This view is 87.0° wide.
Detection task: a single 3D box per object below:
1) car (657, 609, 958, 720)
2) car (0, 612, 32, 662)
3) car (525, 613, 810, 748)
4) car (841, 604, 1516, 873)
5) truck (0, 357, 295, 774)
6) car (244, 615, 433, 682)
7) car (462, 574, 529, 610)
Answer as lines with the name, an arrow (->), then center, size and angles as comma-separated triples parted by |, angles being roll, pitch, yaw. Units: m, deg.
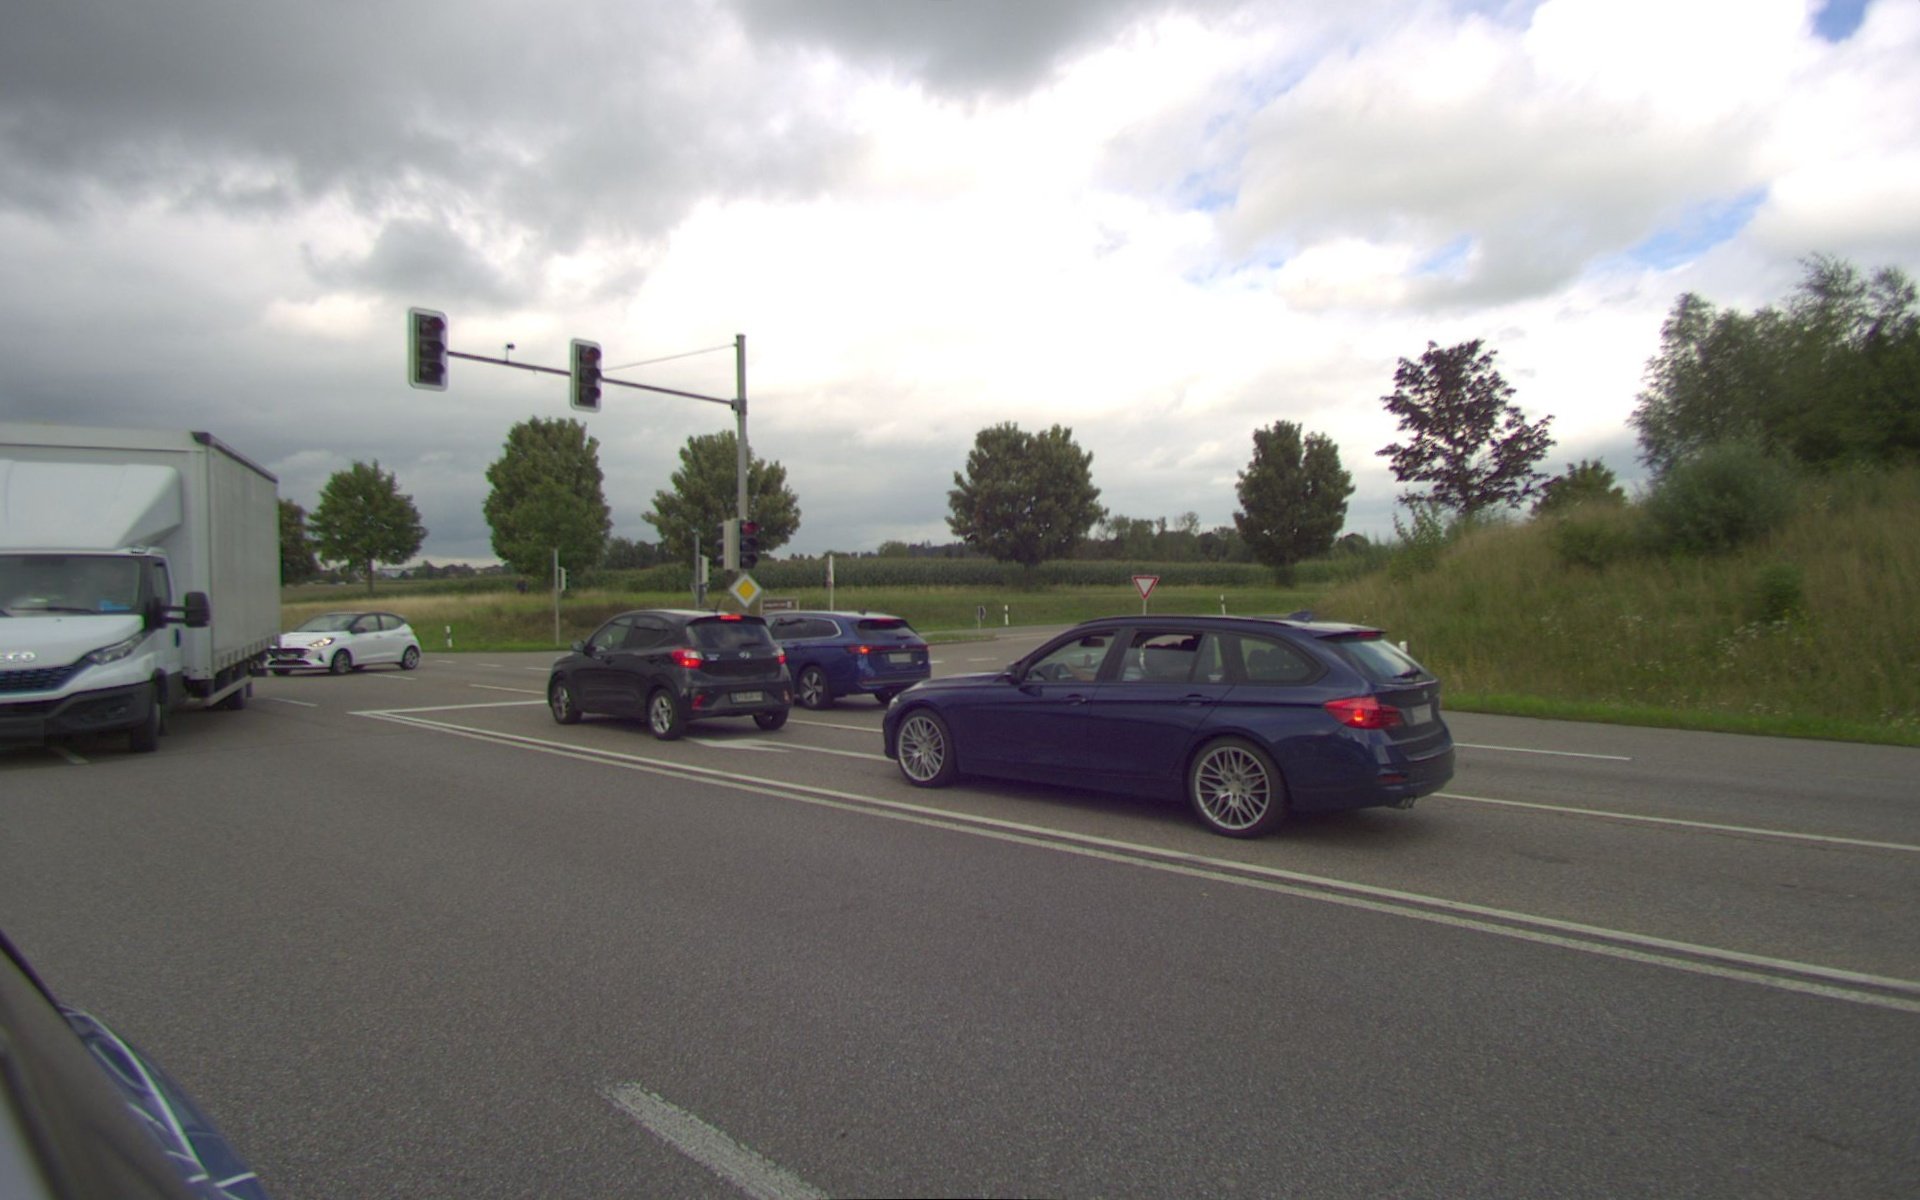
car -> -2.639, 0.938, 16.602 | 5.122, 1.546, 2.025 | -1, -1, 40
car -> -32.748, 1.242, 33.927 | 4.747, 1.576, 1.972 | -1, 1, 42
car -> -3.825, 0.901, 12.877 | 3.943, 1.454, 1.707 | -1, -1, 43
car -> 1.452, 0.823, 8.021 | 4.879, 1.495, 2.027 | -1, -2, 41
truck -> -10.883, -0.269, 13.064 | 2.790, 3.792, 8.828 | 1, -1, -27
car -> -15.012, 1.121, 24.733 | 1.790, 1.463, 3.989 | -1, 0, 9
car -> -28.410, -0.492, 61.879 | 3.991, 2.029, 1.977 | -1, 1, 35
